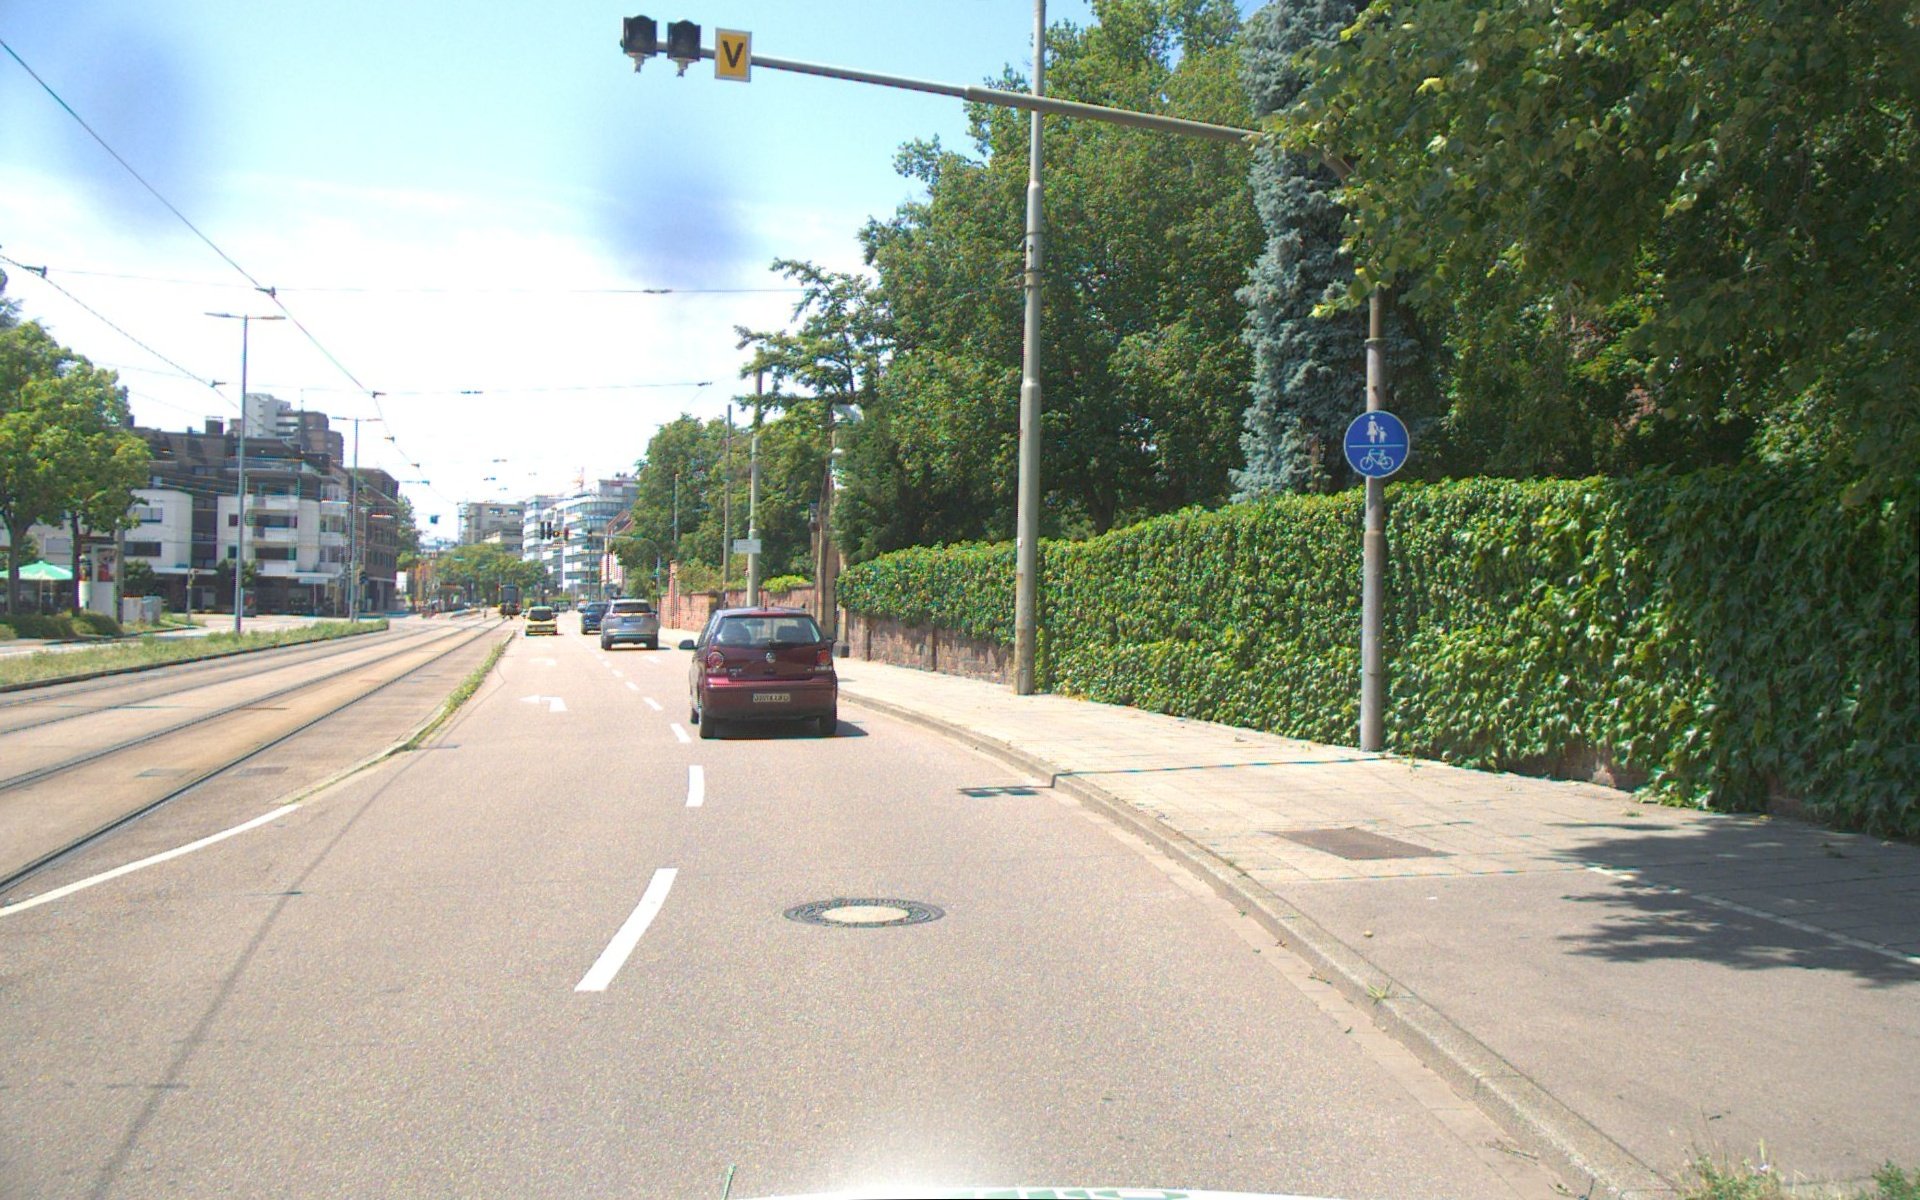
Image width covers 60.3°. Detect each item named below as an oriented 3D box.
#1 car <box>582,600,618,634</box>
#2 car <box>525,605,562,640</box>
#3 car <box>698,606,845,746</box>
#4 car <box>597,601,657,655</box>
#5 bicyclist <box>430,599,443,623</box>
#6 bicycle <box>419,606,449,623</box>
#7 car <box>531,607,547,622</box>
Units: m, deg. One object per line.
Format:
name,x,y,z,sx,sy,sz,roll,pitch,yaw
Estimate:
car,-18.907,0.874,86.897,1.743,1.659,3.988,2,-1,-12
car,-21.706,1.145,86.305,1.765,1.712,3.985,2,-1,-14
car,-2.386,0.846,20.221,1.580,1.524,3.991,0,0,-10
car,-11.327,0.935,56.048,1.765,1.712,3.985,2,-1,-14
bicyclist,-46.492,0.996,146.834,0.945,2.128,0.845,1,-1,-27
bicycle,-46.682,1.274,146.744,2.480,1.444,0.631,0,0,-28
car,-38.681,1.337,152.093,1.331,1.274,2.961,2,-1,-14
